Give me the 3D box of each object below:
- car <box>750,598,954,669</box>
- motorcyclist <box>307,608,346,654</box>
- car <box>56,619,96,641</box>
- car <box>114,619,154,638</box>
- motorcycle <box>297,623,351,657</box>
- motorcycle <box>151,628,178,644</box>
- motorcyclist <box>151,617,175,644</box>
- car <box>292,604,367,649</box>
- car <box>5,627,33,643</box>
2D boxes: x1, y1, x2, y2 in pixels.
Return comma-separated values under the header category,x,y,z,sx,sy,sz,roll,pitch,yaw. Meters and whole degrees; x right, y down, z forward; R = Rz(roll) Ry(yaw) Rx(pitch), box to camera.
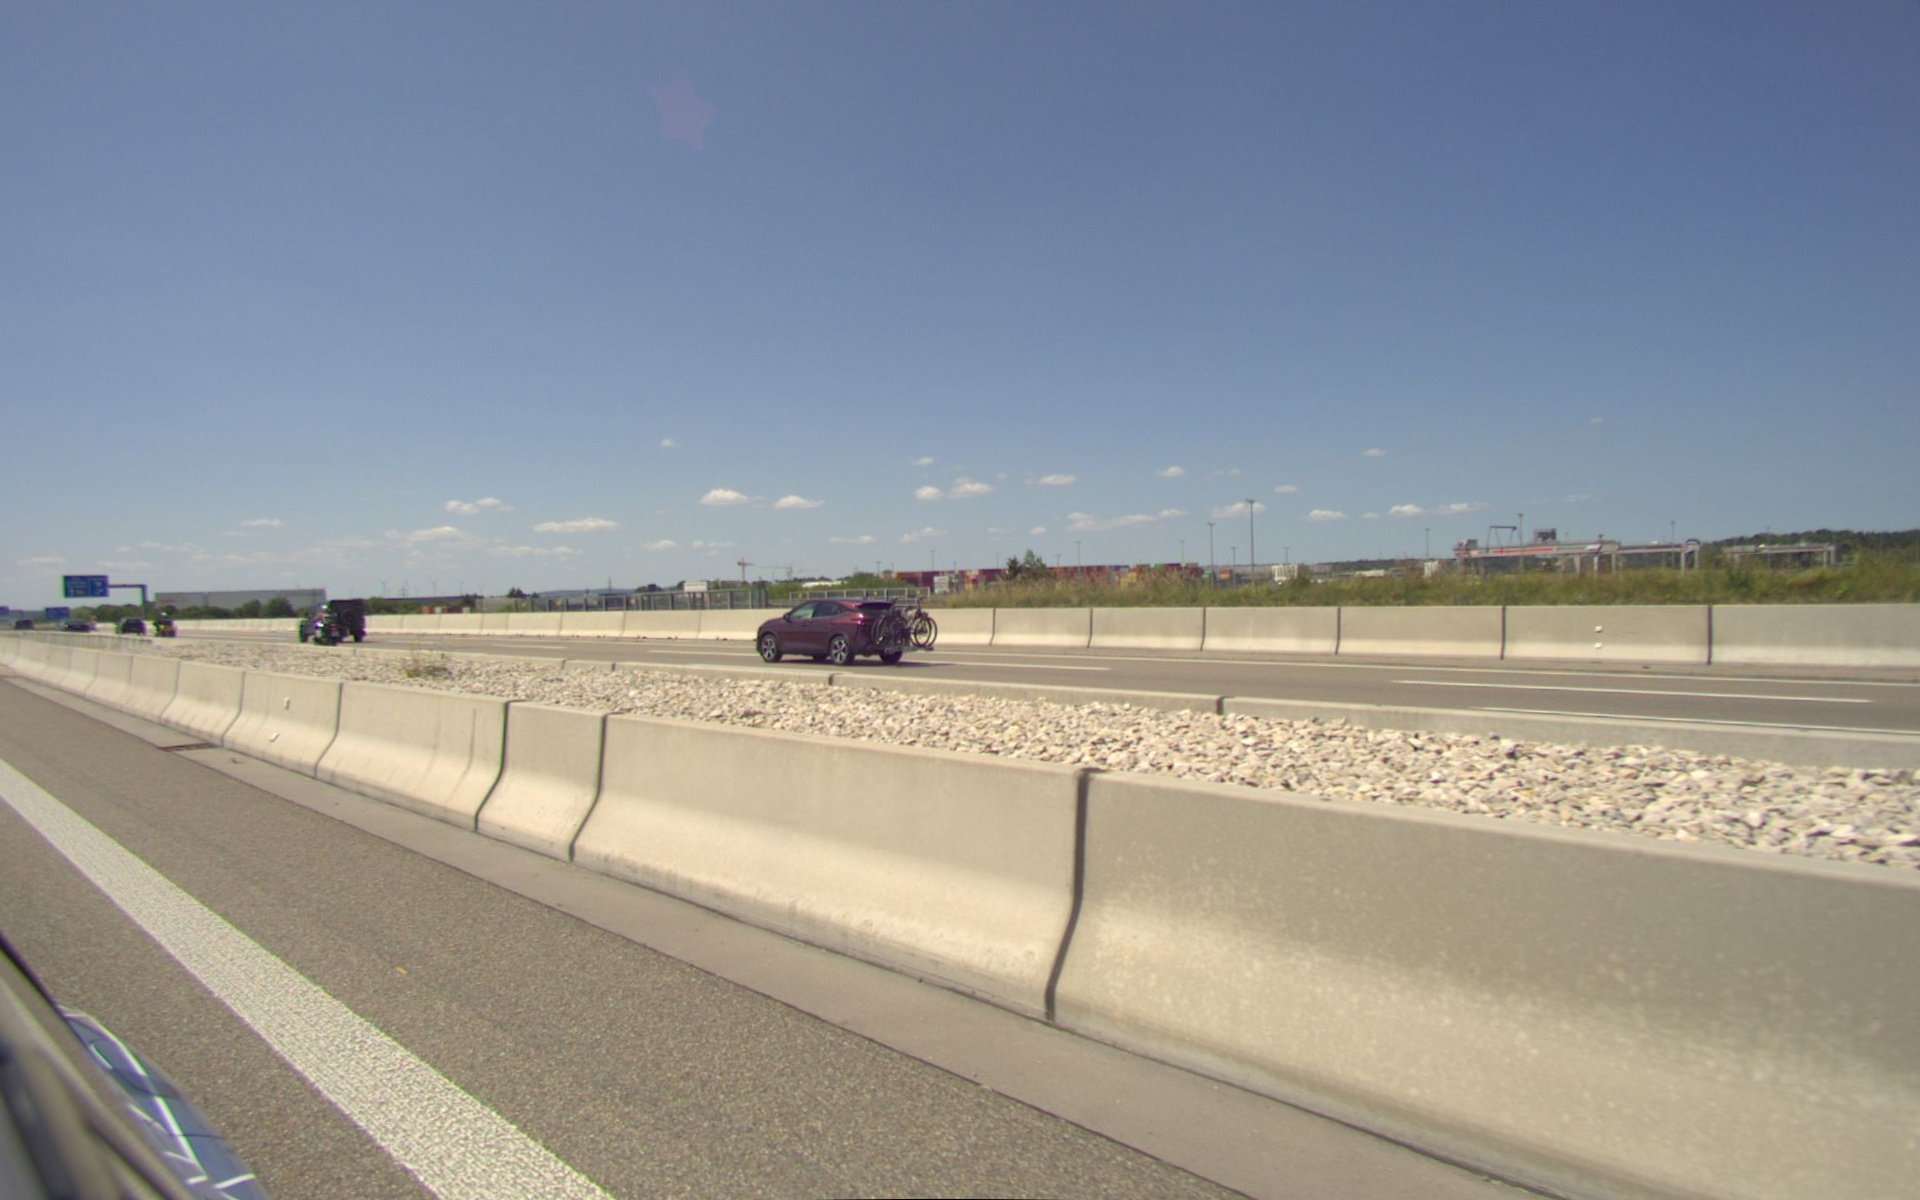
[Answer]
category,x,y,z,sx,sy,sz,roll,pitch,yaw
car,-2.677,0.781,24.203,5.136,1.502,1.849,-2,-1,41
motorcyclist,-23.016,1.124,36.755,1.088,1.633,0.910,-1,0,42
car,-70.940,2.386,81.170,4.649,1.681,1.972,-1,-1,43
car,-69.988,2.419,85.723,4.282,1.470,1.890,-1,-1,41
motorcycle,-23.245,1.425,36.972,2.722,1.178,0.948,-1,0,42
motorcycle,-44.691,2.011,56.824,2.705,0.909,0.767,-1,-1,43
motorcyclist,-44.920,1.704,57.042,0.923,1.508,0.908,-2,-1,42
car,-30.536,1.273,48.952,4.734,2.033,1.864,-1,-1,43
car,-105.659,3.889,113.615,5.015,1.699,1.864,-1,-1,43
